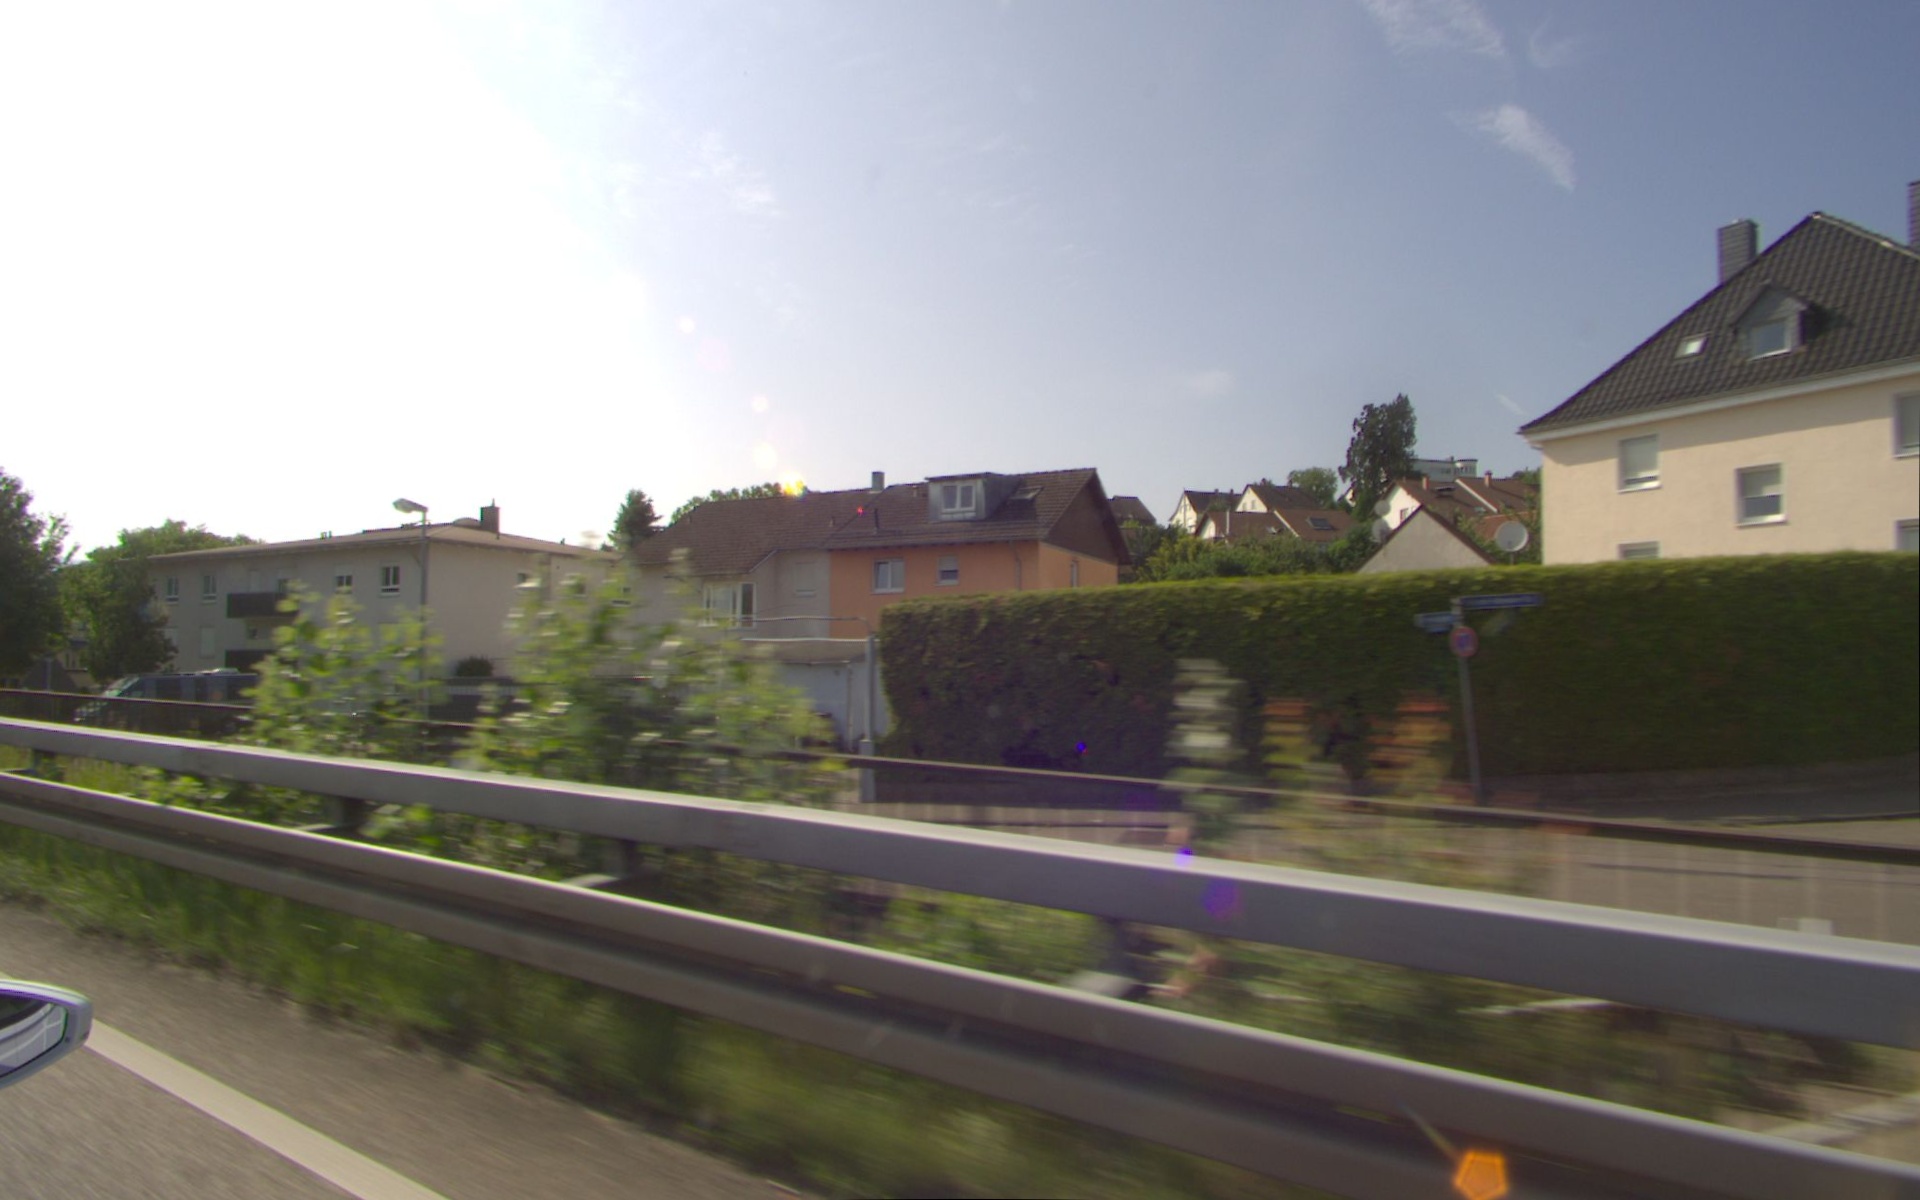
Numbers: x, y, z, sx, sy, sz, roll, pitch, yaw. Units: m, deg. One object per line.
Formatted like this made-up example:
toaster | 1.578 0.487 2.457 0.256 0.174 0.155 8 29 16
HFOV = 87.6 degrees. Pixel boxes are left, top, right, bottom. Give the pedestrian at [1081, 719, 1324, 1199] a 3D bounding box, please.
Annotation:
pedestrian | 1.236 1.677 5.093 0.984 2.039 0.785 -1 -2 36

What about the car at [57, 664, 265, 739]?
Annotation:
car | -31.719 3.976 40.016 2.280 2.718 6.069 -5 -6 30

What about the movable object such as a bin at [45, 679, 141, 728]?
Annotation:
movable object such as a bin | -38.119 4.523 44.075 1.564 2.038 2.782 -1 -4 30
